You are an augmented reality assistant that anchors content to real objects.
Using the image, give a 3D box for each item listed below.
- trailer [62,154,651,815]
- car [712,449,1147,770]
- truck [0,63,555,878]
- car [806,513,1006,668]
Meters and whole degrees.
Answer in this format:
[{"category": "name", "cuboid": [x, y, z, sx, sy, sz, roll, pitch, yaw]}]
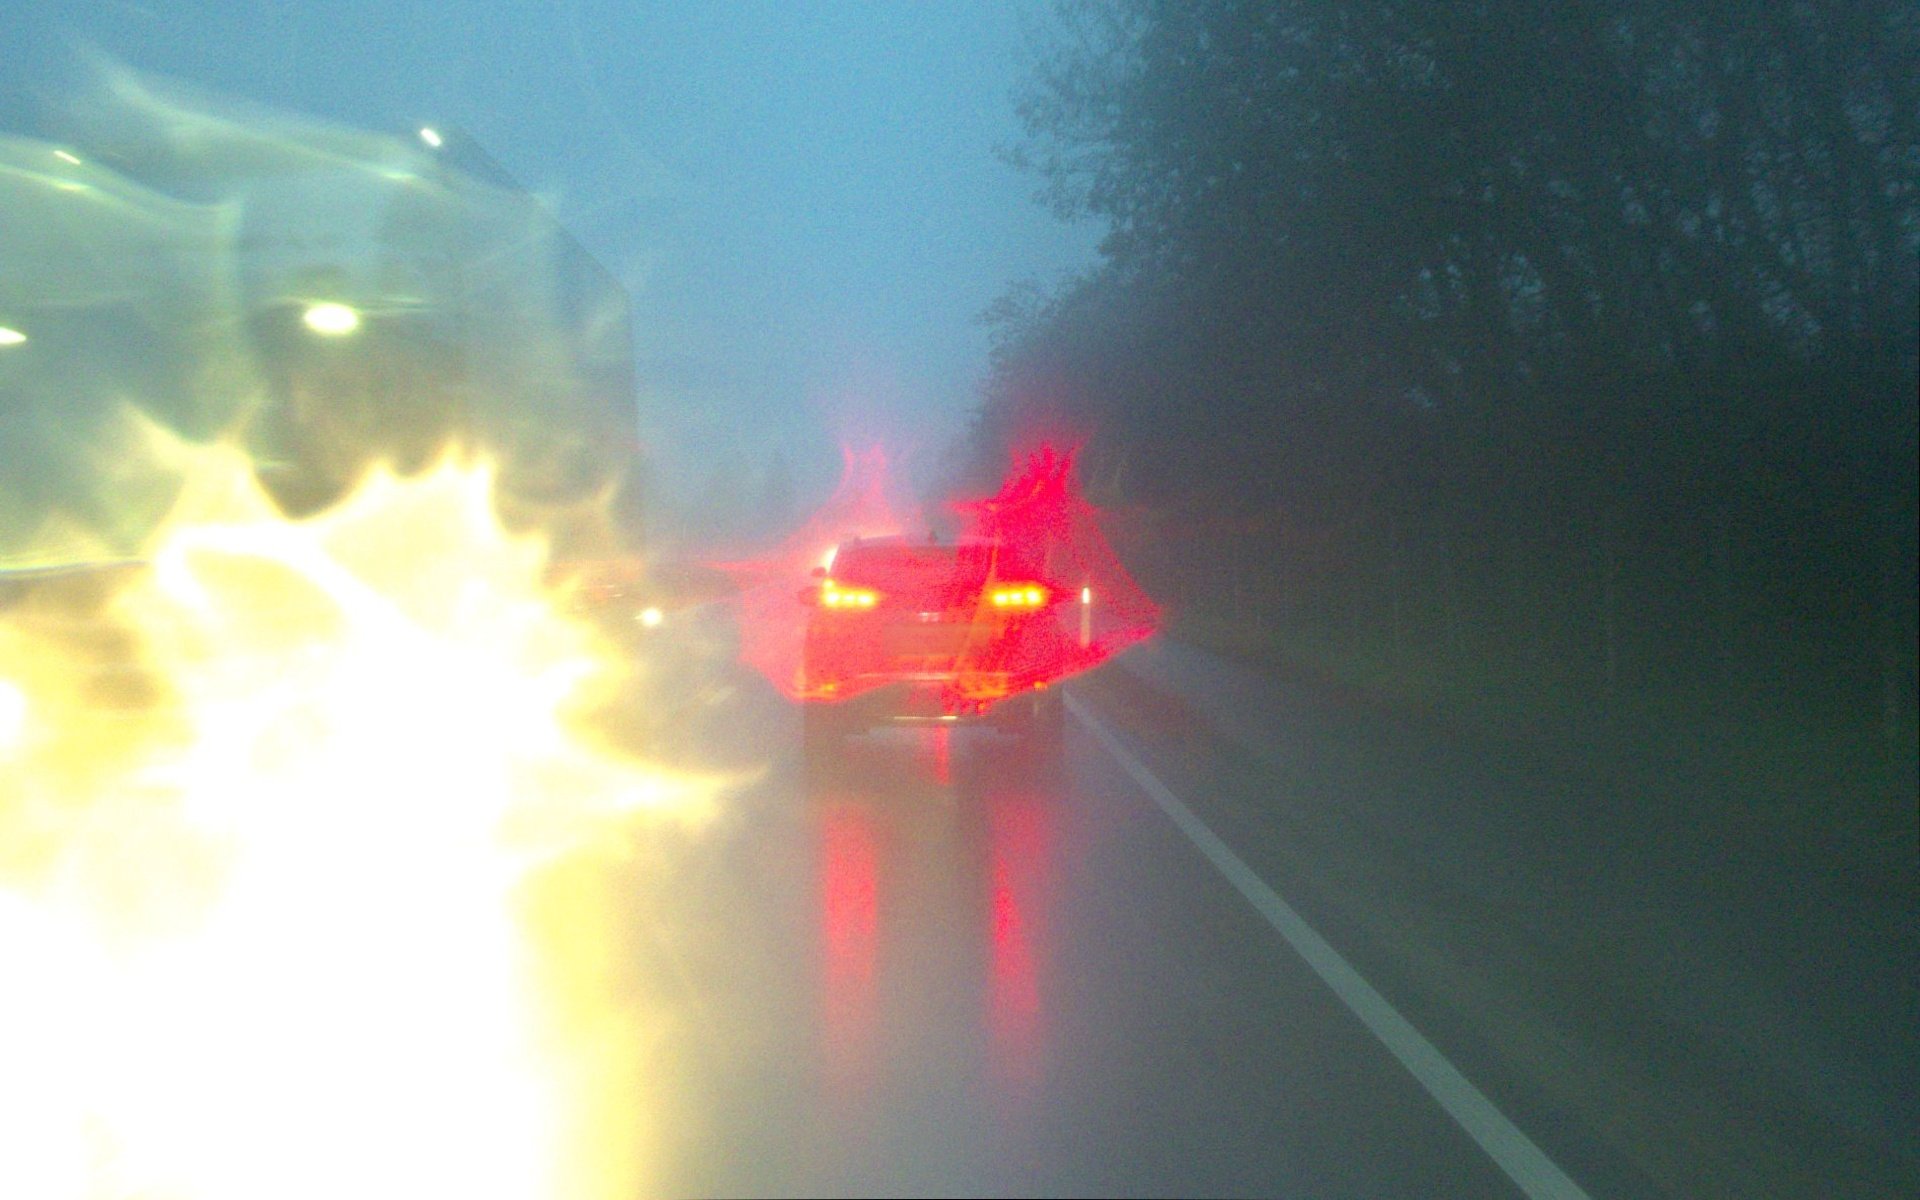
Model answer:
[{"category": "trailer", "cuboid": [-4.325, -0.846, 27.666, 2.701, 4.066, 12.382, -1, 1, -1]}, {"category": "car", "cuboid": [-0.206, 0.024, 25.338, 2.820, 2.070, 5.804, 0, 1, 0]}, {"category": "truck", "cuboid": [-4.185, -0.717, 20.778, 2.725, 4.091, 6.589, -1, 1, -1]}, {"category": "car", "cuboid": [-0.708, -0.160, 47.634, 2.592, 2.007, 5.804, 0, 1, 0]}]
